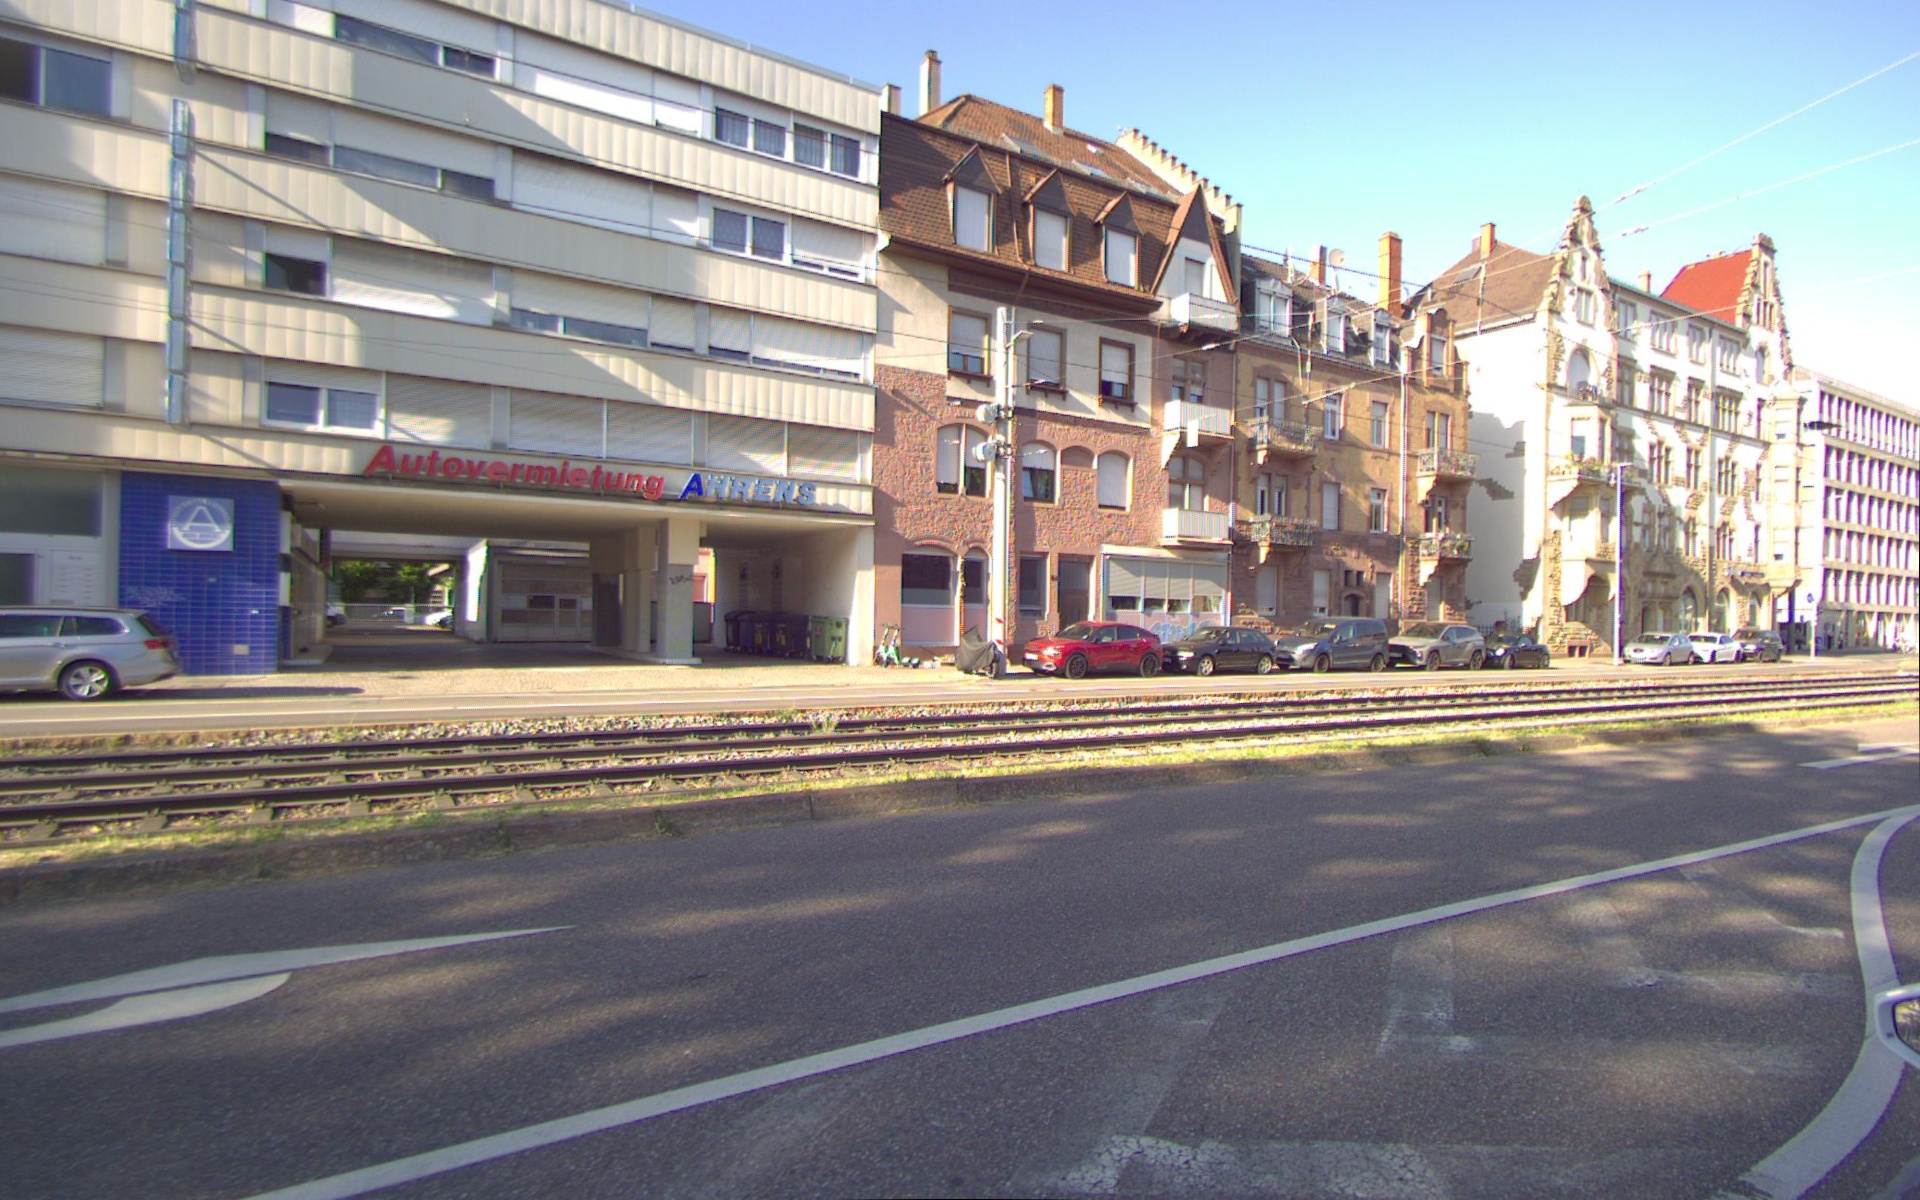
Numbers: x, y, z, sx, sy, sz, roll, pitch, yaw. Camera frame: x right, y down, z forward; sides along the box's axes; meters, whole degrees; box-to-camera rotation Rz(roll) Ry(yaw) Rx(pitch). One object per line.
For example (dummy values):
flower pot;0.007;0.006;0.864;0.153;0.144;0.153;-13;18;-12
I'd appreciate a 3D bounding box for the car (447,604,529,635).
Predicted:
car;-26.020;1.079;55.423;3.953;1.530;1.785;3;0;-30

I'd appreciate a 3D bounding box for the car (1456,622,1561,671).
car;21.301;1.796;38.979;4.152;1.674;1.677;2;2;-32

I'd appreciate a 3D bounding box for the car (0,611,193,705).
car;-15.386;0.902;16.167;4.631;1.409;1.823;2;0;-32

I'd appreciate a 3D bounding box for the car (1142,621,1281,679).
car;7.605;1.482;30.312;3.955;1.530;1.784;2;2;-32

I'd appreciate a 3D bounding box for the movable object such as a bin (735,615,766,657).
movable object such as a bin;-7.046;1.199;33.746;0.628;1.389;1.260;2;-1;-31

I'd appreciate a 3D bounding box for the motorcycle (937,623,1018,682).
motorcycle;0.445;1.357;26.380;2.045;1.345;0.835;4;3;44

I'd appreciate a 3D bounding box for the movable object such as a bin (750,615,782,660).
movable object such as a bin;-6.285;1.205;32.518;0.628;1.389;1.260;2;-1;-31

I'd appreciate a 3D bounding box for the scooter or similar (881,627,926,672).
scooter or similar;-1.574;1.374;28.097;1.186;1.222;0.389;2;2;-31

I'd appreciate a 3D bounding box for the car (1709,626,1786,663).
car;40.534;2.280;51.667;4.140;1.742;1.783;2;2;-33

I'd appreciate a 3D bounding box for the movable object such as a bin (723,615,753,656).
movable object such as a bin;-7.726;1.219;34.895;0.628;1.389;1.260;2;-1;-31

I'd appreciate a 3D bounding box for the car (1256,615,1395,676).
car;12.039;1.495;33.030;4.401;1.777;1.786;2;2;-29

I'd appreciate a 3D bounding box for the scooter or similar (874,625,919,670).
scooter or similar;-1.798;1.354;28.619;1.186;1.222;0.389;2;2;-31

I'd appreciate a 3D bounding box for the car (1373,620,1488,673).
car;16.951;1.659;36.151;4.152;1.674;1.677;2;2;-32

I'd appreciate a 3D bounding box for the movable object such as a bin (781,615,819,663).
movable object such as a bin;-4.824;1.168;30.274;0.629;1.389;1.184;1;0;-37

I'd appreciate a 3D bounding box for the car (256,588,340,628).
car;-41.665;0.533;63.363;4.296;2.322;1.847;2;0;-33

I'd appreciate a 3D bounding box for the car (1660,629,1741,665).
car;35.905;2.248;48.677;4.140;1.530;1.783;2;2;-33

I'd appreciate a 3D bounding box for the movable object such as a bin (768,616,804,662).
movable object such as a bin;-5.465;1.221;31.464;0.629;1.389;1.259;2;-1;-34

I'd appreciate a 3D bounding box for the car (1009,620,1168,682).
car;3.609;1.397;27.980;4.220;1.479;1.784;2;2;-33

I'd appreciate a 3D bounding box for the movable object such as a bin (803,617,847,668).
movable object such as a bin;-3.903;1.212;29.048;0.629;1.389;1.401;1;0;-37

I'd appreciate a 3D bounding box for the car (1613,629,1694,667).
car;31.457;2.139;45.547;3.962;1.530;1.781;1;2;-36
